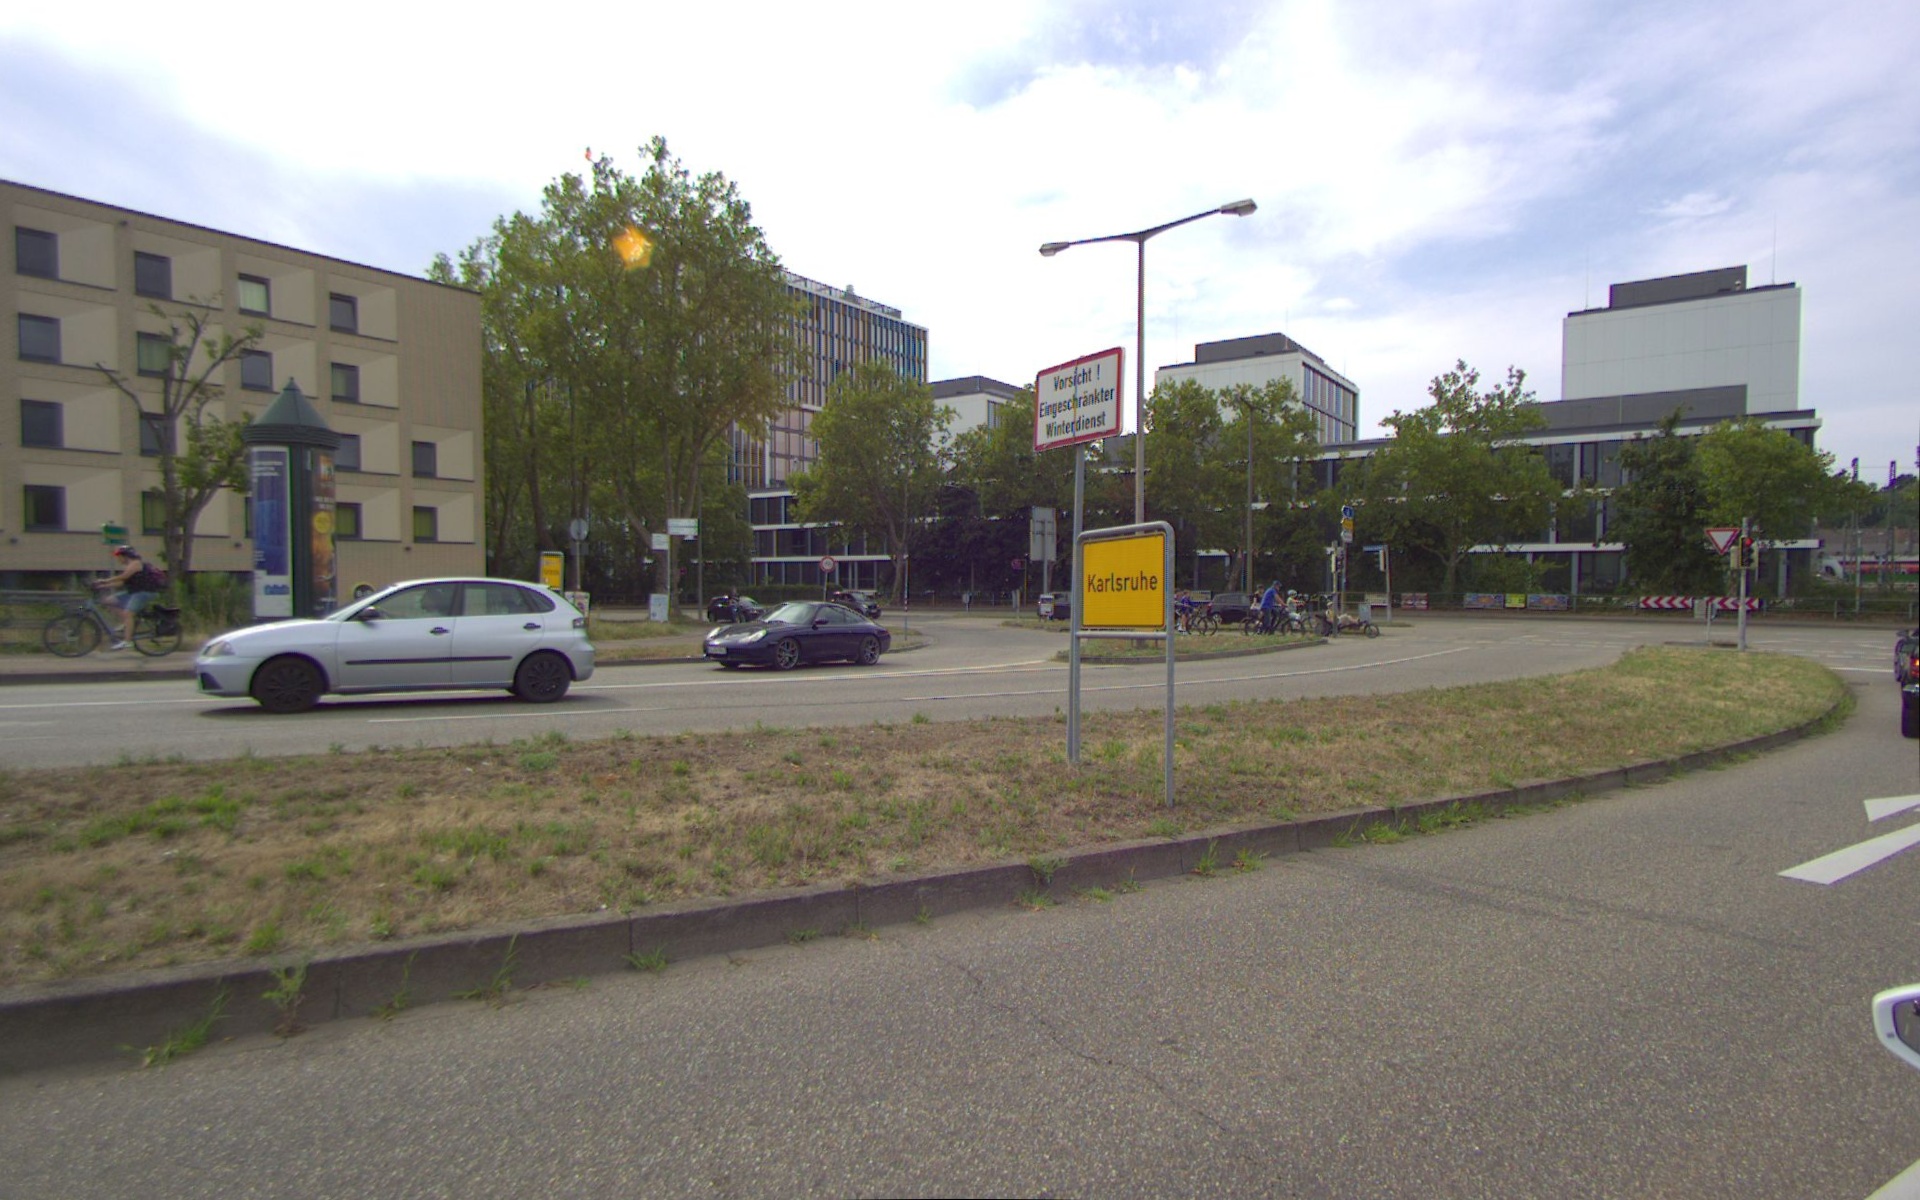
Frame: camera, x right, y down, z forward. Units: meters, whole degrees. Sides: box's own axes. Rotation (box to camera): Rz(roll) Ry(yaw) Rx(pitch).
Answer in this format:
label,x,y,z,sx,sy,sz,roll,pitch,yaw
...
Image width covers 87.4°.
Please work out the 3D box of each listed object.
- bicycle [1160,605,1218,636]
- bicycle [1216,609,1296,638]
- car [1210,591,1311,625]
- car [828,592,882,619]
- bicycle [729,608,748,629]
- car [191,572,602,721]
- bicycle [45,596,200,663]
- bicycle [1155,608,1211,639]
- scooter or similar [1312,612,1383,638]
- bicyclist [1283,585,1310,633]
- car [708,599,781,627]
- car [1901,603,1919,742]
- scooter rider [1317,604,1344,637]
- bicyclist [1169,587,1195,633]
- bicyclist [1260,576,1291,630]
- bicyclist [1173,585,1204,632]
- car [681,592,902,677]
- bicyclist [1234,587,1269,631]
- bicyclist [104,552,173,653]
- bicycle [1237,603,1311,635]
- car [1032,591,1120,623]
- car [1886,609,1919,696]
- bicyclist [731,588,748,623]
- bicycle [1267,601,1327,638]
label,x,y,z,sx,sy,sz,roll,pitch,yaw
bicycle,7.727,0.689,33.954,1.868,1.027,0.629,0,1,12
bicycle,10.024,0.793,34.022,2.541,0.902,0.704,1,1,19
car,13.026,0.324,43.586,3.993,1.386,1.701,1,1,24
car,-5.841,0.280,55.911,2.673,1.441,1.495,1,1,34
bicycle,-10.381,0.864,47.132,0.728,0.921,2.116,0,0,-9
car,-6.222,0.481,11.389,3.819,1.429,1.606,1,-1,-34
bicycle,-14.337,0.483,17.244,0.676,1.068,1.983,2,1,42
bicycle,7.737,0.797,34.813,1.869,1.027,0.629,0,1,14
scooter or similar,13.711,0.867,35.608,2.339,0.861,0.808,1,1,20
bicyclist,11.576,0.297,34.563,0.767,1.602,0.654,1,1,26
car,-11.896,0.694,55.347,3.936,1.438,1.791,1,0,37
car,13.426,0.890,12.908,4.009,1.596,1.739,-1,2,-44
scooter rider,13.198,0.718,35.786,0.899,1.152,0.808,1,1,19
bicyclist,7.692,0.338,34.804,0.824,1.550,0.629,0,1,14
bicyclist,10.003,0.102,31.805,0.866,1.678,0.811,1,1,21
bicyclist,7.704,0.270,33.947,0.999,1.560,0.629,0,1,12
car,-3.197,0.622,19.890,1.797,1.465,4.338,1,0,35
bicyclist,9.893,0.293,34.052,1.095,1.456,0.648,0,1,19
bicyclist,-14.197,0.028,17.368,0.676,1.694,0.842,2,1,43
bicycle,9.962,0.579,31.831,2.191,0.965,0.811,1,1,21
car,5.683,0.311,49.497,4.004,1.470,1.697,1,1,36
car,18.577,0.937,18.521,1.796,1.433,4.756,2,1,38
bicyclist,-10.362,0.256,47.168,0.728,1.636,0.919,0,1,-9
bicycle,11.591,0.658,34.574,1.872,1.226,0.642,1,1,27
